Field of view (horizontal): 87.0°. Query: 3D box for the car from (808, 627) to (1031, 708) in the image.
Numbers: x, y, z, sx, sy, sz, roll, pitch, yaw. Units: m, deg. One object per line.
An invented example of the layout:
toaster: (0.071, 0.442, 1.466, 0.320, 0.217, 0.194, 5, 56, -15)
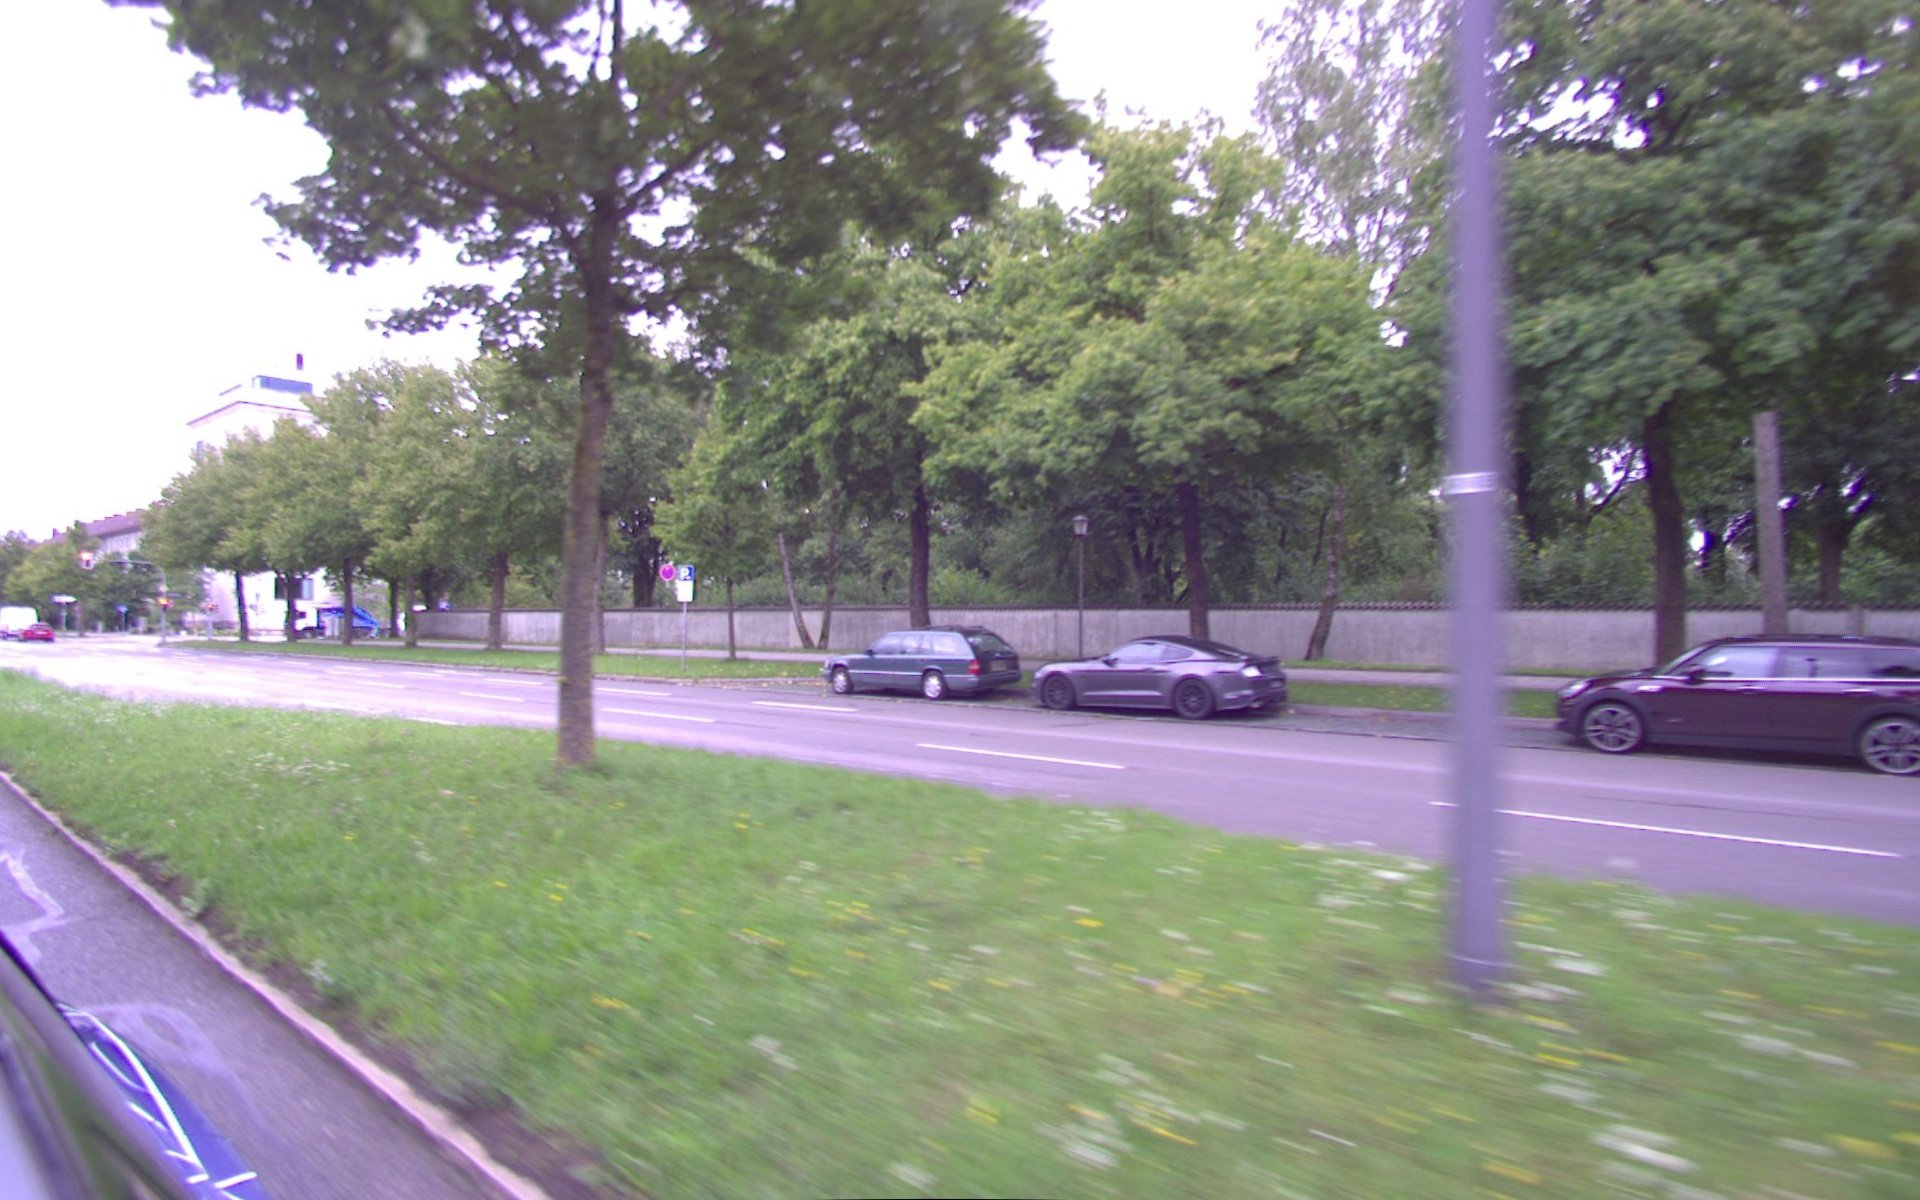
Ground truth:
car: (-0.985, 1.355, 21.768, 4.912, 1.501, 1.780, -1, 0, 41)

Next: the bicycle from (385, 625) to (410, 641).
bicycle: (-43.974, 2.572, 79.098, 2.494, 1.195, 0.827, -1, -2, 40)

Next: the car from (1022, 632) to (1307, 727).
car: (3.463, 1.288, 17.771, 4.704, 1.406, 1.642, -1, 0, 41)

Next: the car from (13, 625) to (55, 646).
car: (-68.707, 2.640, 75.094, 4.655, 1.463, 1.725, -2, -4, 41)

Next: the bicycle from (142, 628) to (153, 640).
bicycle: (-79.066, 3.295, 98.482, 1.825, 1.190, 0.539, -1, -2, 40)

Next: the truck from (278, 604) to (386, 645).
truck: (-55.964, 2.136, 90.323, 2.771, 3.515, 7.715, -1, -2, 42)

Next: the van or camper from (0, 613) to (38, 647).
van or camper: (-77.730, 2.466, 83.141, 6.948, 2.667, 2.155, -2, -4, 42)

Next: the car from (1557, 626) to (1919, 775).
car: (9.720, 1.089, 11.991, 1.553, 1.514, 4.305, -1, 0, -45)
